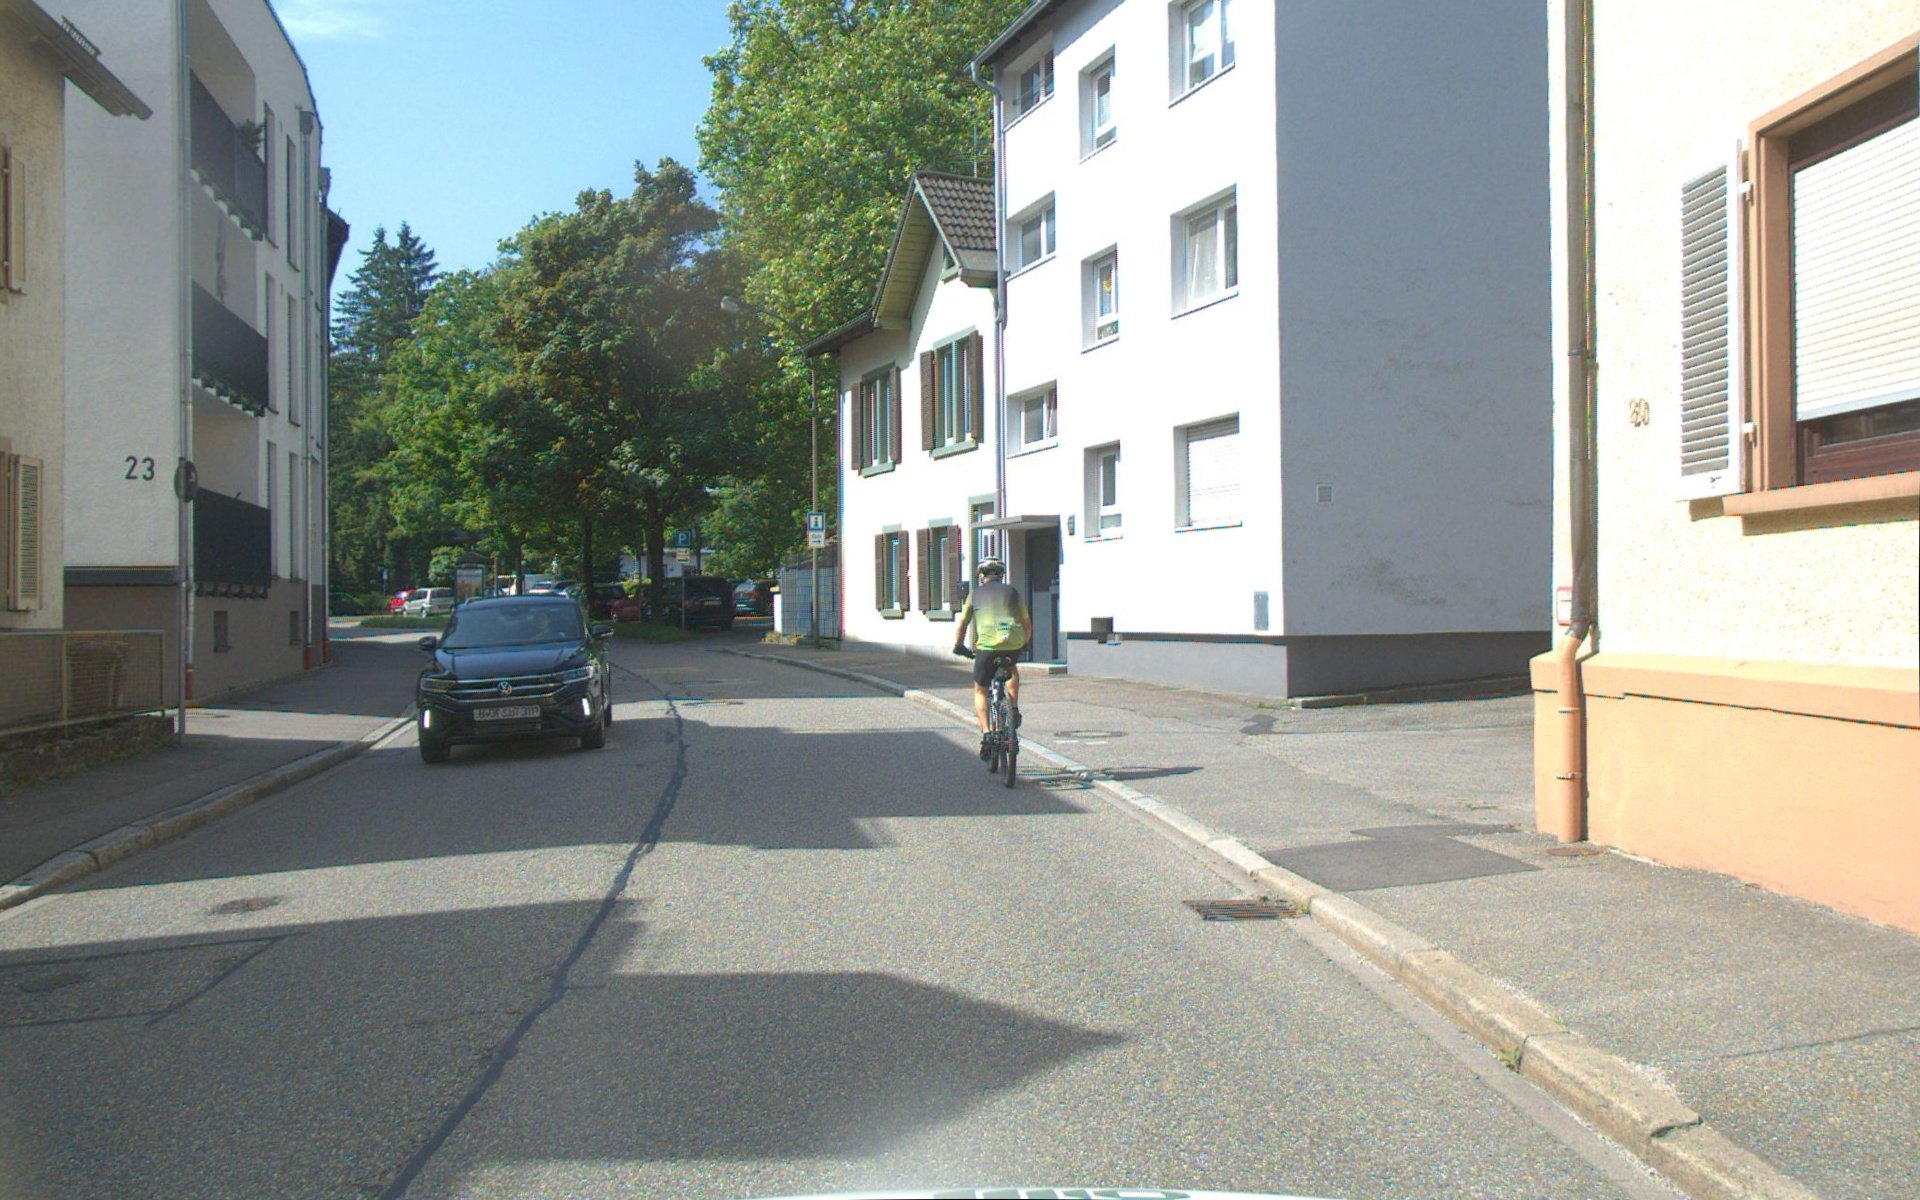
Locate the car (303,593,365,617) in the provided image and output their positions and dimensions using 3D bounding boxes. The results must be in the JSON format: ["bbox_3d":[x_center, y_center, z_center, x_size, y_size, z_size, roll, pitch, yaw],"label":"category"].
[{"bbox_3d":[-41.279,0.302,109.108,3.342,1.555,1.959,0,0,16],"label":"car"}]

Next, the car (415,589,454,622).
[{"bbox_3d":[-25.754,0.246,81.044,1.718,1.579,3.732,-1,0,-19],"label":"car"}]

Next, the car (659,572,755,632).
[{"bbox_3d":[-8.258,0.024,53.706,1.803,1.822,3.961,-2,2,-29],"label":"car"}]

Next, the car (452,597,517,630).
[{"bbox_3d":[-22.064,0.619,76.728,1.663,1.493,3.360,-1,0,-40],"label":"car"}]

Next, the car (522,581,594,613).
[{"bbox_3d":[-20.342,-0.159,83.870,1.771,1.579,4.003,0,0,16],"label":"car"}]

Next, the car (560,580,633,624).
[{"bbox_3d":[-14.162,0.058,64.353,1.690,1.569,3.961,-2,2,-29],"label":"car"}]

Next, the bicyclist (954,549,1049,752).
[{"bbox_3d":[0.322,0.395,13.215,0.672,1.558,0.715,-1,0,-3],"label":"bicyclist"}]

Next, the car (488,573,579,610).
[{"bbox_3d":[-22.478,-0.449,87.363,1.956,1.887,4.691,0,0,30],"label":"car"}]

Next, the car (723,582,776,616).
[{"bbox_3d":[-8.581,-0.056,67.247,1.557,1.279,3.840,-2,1,-16],"label":"car"}]

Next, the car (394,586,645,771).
[{"bbox_3d":[-4.473,0.710,17.393,1.789,1.563,3.996,-4,1,-5],"label":"car"}]

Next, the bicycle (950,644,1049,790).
[{"bbox_3d":[0.295,0.904,13.216,0.684,1.053,1.470,1,0,-3],"label":"bicycle"}]
